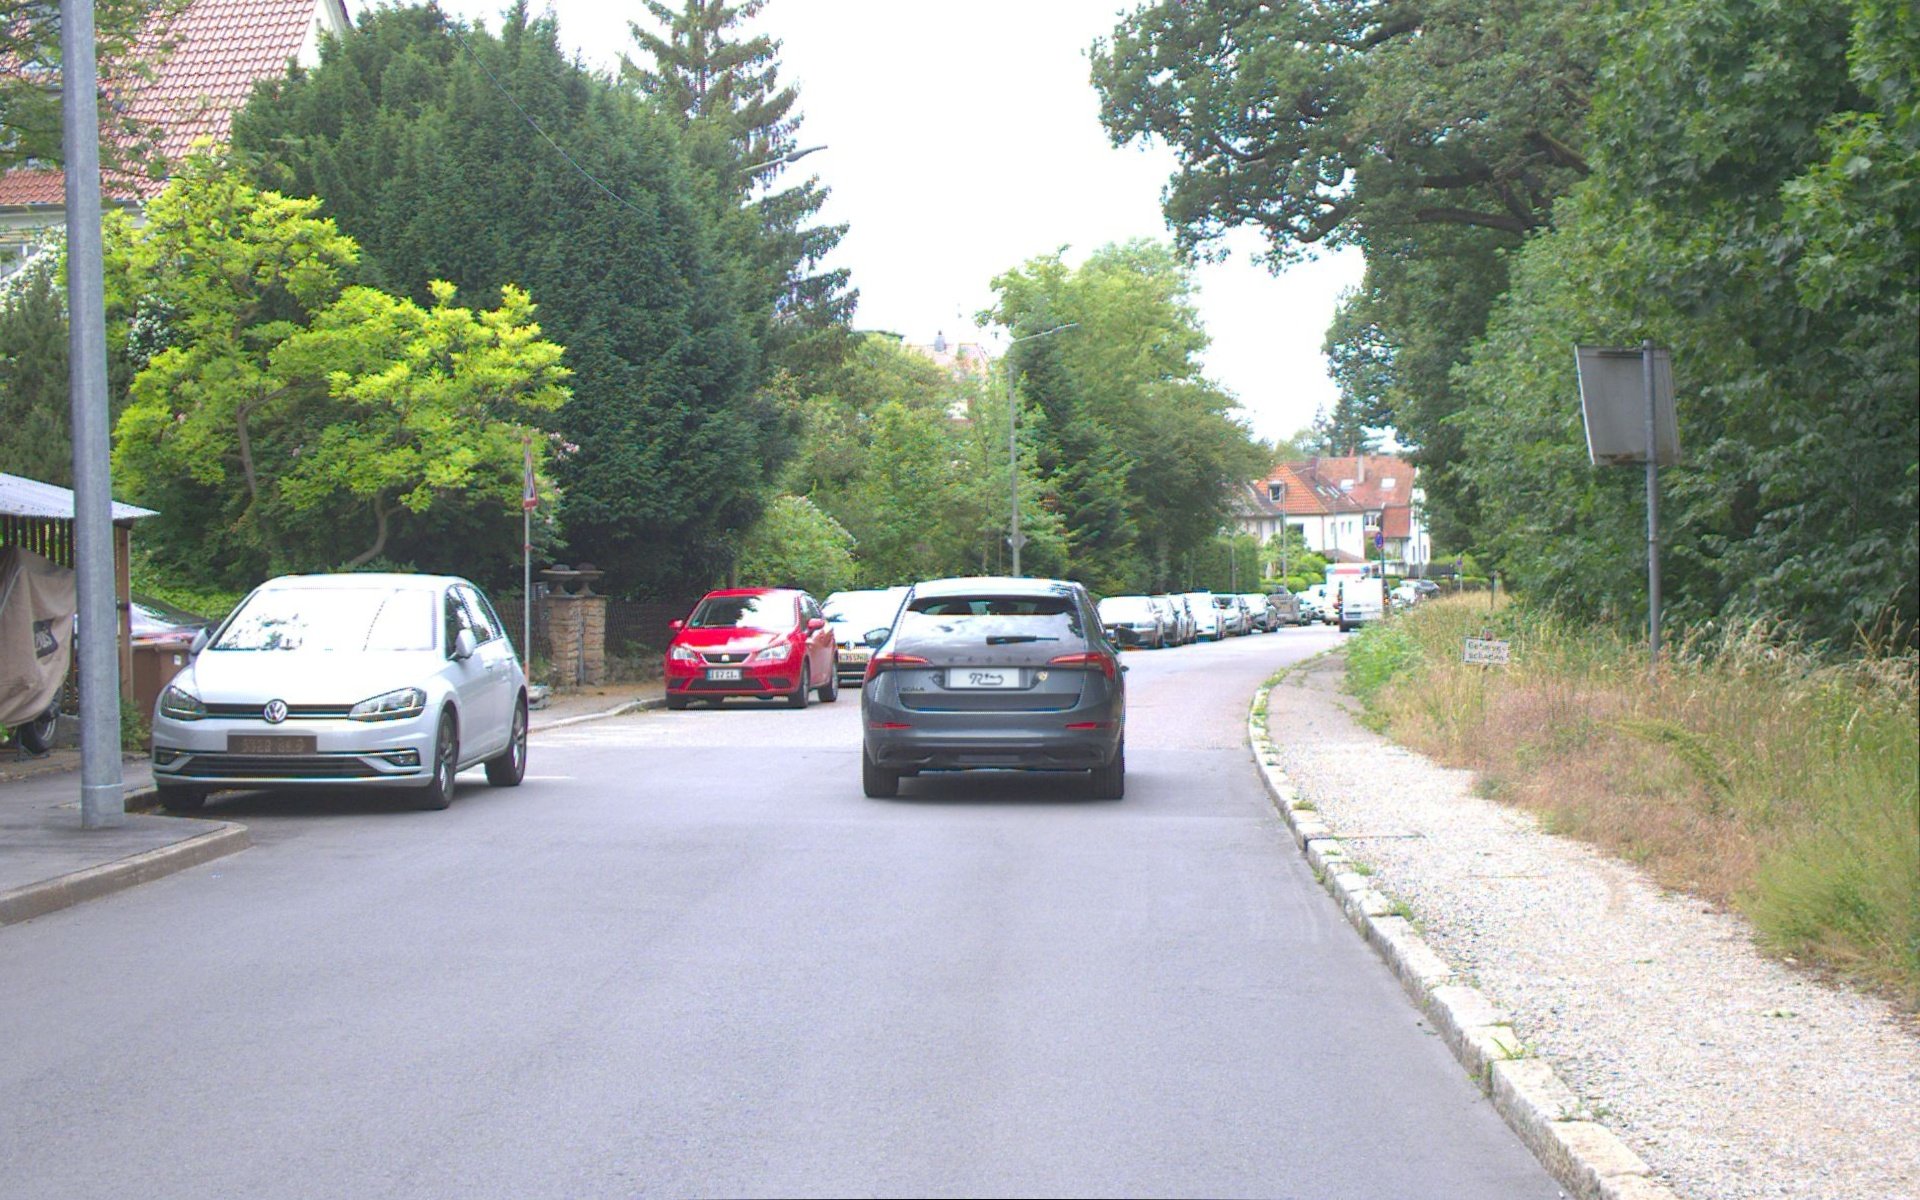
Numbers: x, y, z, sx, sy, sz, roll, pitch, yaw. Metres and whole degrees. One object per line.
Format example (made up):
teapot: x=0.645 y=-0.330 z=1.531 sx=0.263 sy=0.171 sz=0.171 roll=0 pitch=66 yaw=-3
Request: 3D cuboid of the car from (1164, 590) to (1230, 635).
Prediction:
car: x=7.506 y=0.381 z=108.794 sx=1.749 sy=1.400 sz=3.999 roll=1 pitch=0 yaw=9

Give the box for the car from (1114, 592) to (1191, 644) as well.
car: x=5.412 y=0.485 z=96.327 sx=1.749 sy=1.400 sz=3.999 roll=1 pitch=0 yaw=9

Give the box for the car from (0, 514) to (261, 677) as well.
car: x=-8.941 y=-0.063 z=31.824 sx=4.482 sy=1.436 sz=1.878 roll=1 pitch=0 yaw=6

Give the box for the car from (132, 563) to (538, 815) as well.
car: x=-3.927 y=0.512 z=22.255 sx=1.706 sy=1.463 sz=4.075 roll=1 pitch=0 yaw=3

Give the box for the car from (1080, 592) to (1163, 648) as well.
car: x=4.244 y=0.514 z=89.896 sx=1.749 sy=1.400 sz=3.999 roll=1 pitch=0 yaw=9

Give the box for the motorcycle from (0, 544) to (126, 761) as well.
motorcycle: x=-6.854 y=0.345 z=24.665 sx=0.810 sy=1.480 sz=2.895 roll=1 pitch=0 yaw=5

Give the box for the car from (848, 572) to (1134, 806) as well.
car: x=0.299 y=0.545 z=23.650 sx=1.735 sy=1.442 sz=4.180 roll=1 pitch=0 yaw=4

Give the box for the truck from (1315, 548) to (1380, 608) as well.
truck: x=18.553 y=-1.097 z=164.276 sx=2.764 sy=2.784 sz=9.265 roll=0 pitch=1 yaw=9

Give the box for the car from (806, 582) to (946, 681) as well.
car: x=-1.228 y=0.443 z=51.690 sx=1.749 sy=1.400 sz=3.999 roll=1 pitch=0 yaw=4

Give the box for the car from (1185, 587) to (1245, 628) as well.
car: x=8.861 y=0.246 z=119.135 sx=1.749 sy=1.400 sz=3.999 roll=1 pitch=0 yaw=9

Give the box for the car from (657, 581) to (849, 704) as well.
car: x=-2.464 y=0.485 z=41.781 sx=1.636 sy=1.400 sz=3.999 roll=1 pitch=0 yaw=7

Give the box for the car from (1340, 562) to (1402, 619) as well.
car: x=15.356 y=-0.381 z=128.230 sx=2.206 sy=2.056 sz=6.133 roll=0 pitch=1 yaw=8

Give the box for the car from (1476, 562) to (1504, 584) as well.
car: x=35.331 y=-1.777 z=229.215 sx=1.735 sy=1.442 sz=3.999 roll=1 pitch=0 yaw=7

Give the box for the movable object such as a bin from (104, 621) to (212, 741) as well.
movable object such as a bin: x=-6.233 y=0.625 z=26.730 sx=0.591 sy=0.906 sz=0.700 roll=1 pitch=0 yaw=9
